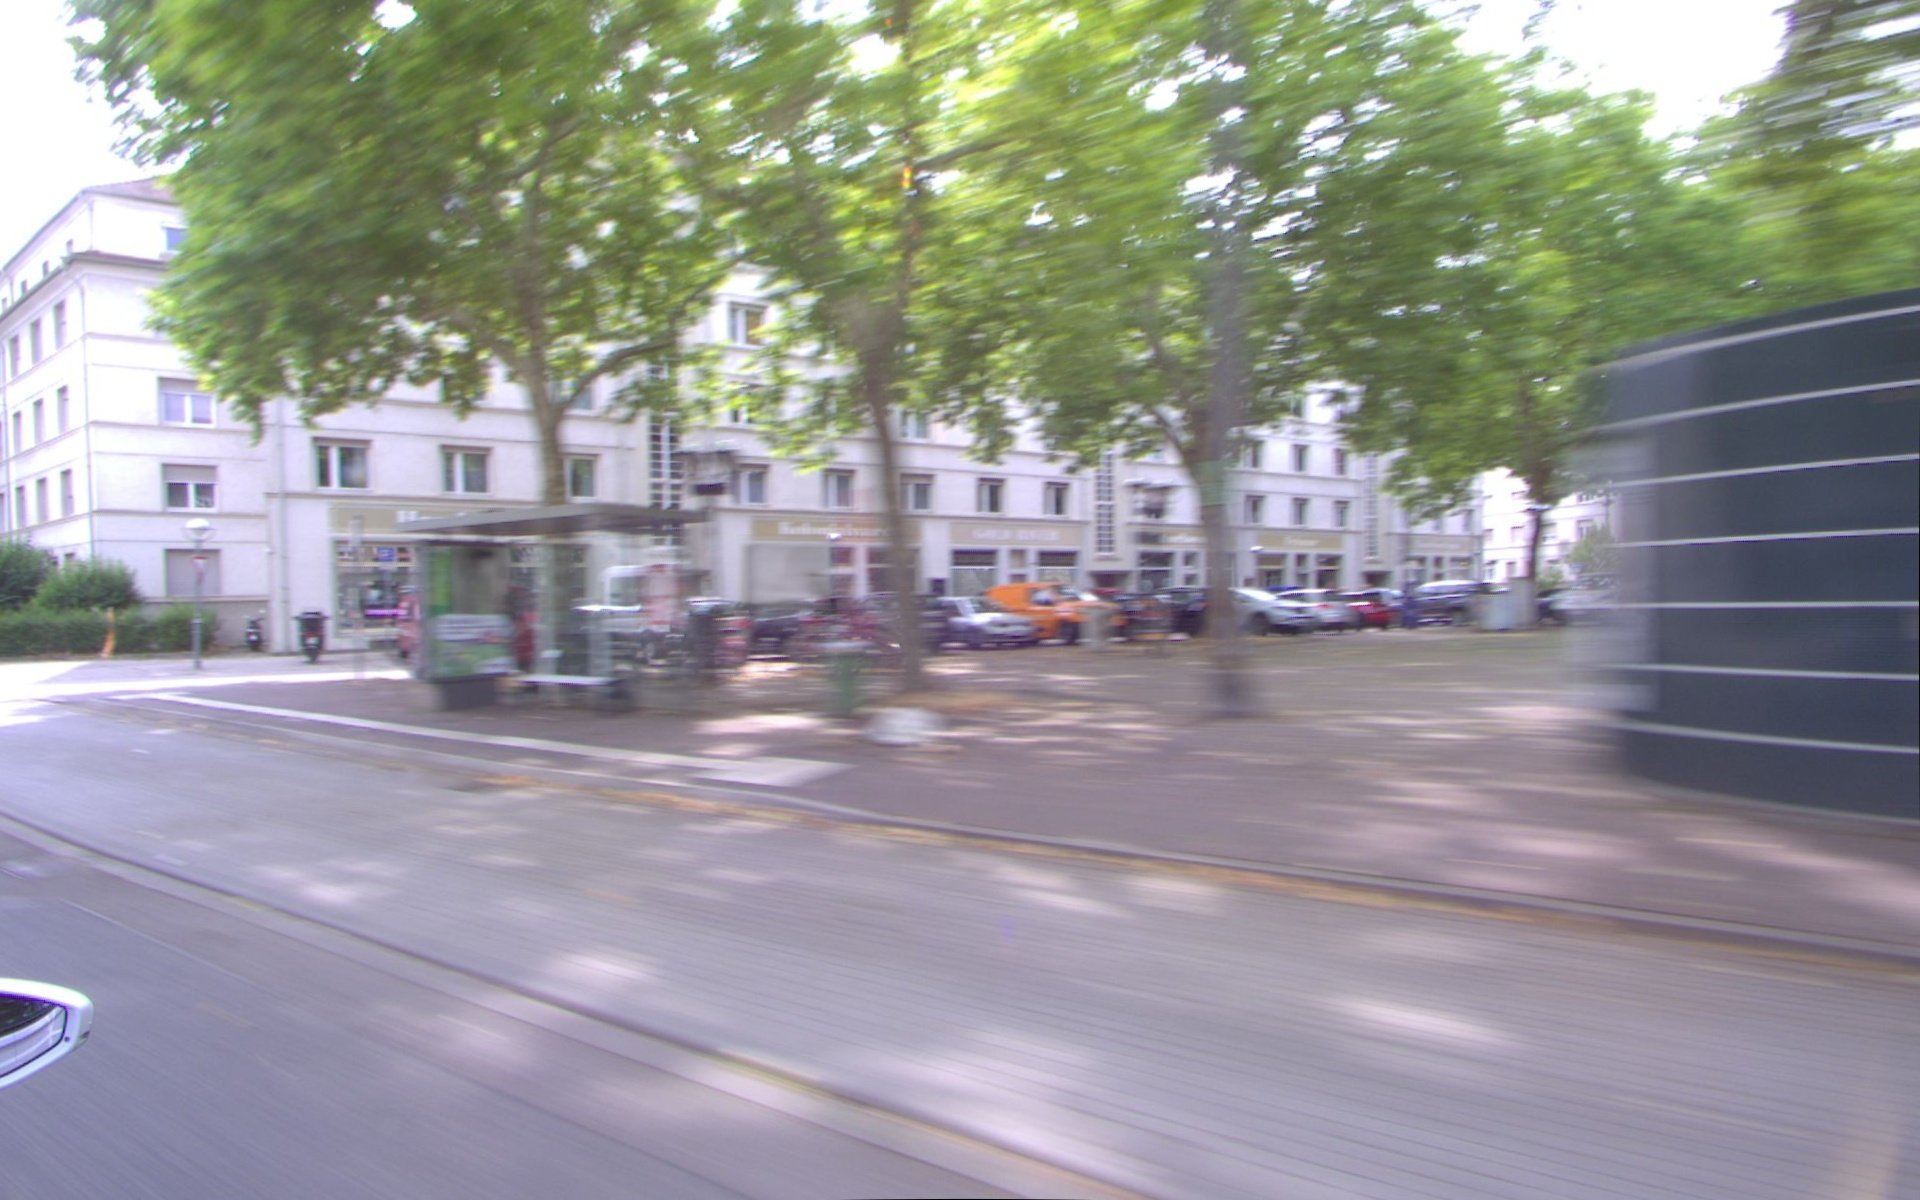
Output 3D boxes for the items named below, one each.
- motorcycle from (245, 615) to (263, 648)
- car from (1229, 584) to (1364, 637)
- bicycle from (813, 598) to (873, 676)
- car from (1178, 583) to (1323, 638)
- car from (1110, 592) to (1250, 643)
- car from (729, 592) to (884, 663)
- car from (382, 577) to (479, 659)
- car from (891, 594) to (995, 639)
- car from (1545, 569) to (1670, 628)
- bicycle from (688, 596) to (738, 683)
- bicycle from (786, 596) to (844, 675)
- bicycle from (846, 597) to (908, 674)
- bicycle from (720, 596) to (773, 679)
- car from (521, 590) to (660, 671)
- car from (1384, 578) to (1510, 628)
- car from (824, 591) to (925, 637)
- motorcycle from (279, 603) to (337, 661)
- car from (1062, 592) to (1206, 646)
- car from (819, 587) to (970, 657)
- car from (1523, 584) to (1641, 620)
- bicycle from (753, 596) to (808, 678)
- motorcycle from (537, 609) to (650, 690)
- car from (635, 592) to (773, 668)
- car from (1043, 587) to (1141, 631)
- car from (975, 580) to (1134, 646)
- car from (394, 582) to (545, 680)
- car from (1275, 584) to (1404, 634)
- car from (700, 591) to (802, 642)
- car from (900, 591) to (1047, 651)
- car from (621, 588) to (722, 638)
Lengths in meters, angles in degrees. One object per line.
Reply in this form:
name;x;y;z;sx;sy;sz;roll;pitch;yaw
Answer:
motorcycle;-22.994;1.019;32.596;0.428;1.030;1.438;-1;2;-36
car;11.337;0.326;33.946;1.974;1.662;3.972;-1;1;-35
bicycle;-2.246;0.667;19.001;0.413;1.396;2.302;-1;0;-25
car;9.324;0.319;32.379;1.975;1.639;4.174;-2;0;-37
car;6.815;0.533;31.376;1.975;1.483;3.971;-2;0;-37
car;-3.698;0.611;23.637;1.975;1.483;3.971;-2;0;-37
car;-15.482;0.487;29.148;1.974;2.178;4.812;-1;0;-34
car;-0.725;0.619;38.356;1.975;1.612;4.165;-1;0;-35
car;21.765;-0.071;33.612;4.274;1.840;1.987;-1;1;-33
bicycle;-4.419;0.655;17.807;0.413;1.397;2.301;-1;2;-25
bicycle;-2.758;0.621;18.843;0.413;1.396;2.302;-1;1;-25
bicycle;-1.632;0.649;19.358;0.413;1.396;2.302;-1;0;-25
bicycle;-3.893;0.638;18.165;0.413;1.396;2.302;-1;1;-25
car;-8.171;0.619;21.943;1.810;1.572;3.971;-2;0;-37
car;18.818;0.112;38.833;1.894;1.840;3.970;-1;0;-37
car;-3.275;0.526;37.709;1.975;1.612;4.165;-1;0;-35
motorcycle;-17.771;0.836;27.274;2.281;1.482;0.827;1;2;45
car;5.111;0.545;29.830;1.975;1.483;3.971;-2;0;-37
car;-1.734;0.525;25.406;1.975;1.620;3.971;-2;0;-37
car;27.676;0.065;44.685;1.967;1.503;4.086;-1;0;-23
bicycle;-3.337;0.632;18.472;0.413;1.397;2.302;-1;1;-25
motorcycle;-6.002;0.780;16.513;0.523;1.239;1.851;0;1;30
car;-5.787;0.620;22.280;1.727;1.483;4.159;-2;0;-33
car;5.591;0.375;42.845;1.974;1.751;3.973;-1;0;-35
car;2.588;0.347;28.510;1.975;1.717;4.526;-2;0;-37
car;-9.932;0.572;20.096;1.915;1.728;4.298;-1;0;-37
car;13.636;0.304;36.166;1.974;1.662;3.972;-1;1;-35
car;-7.156;0.544;33.997;1.974;1.612;4.167;-1;0;-34
car;0.294;0.536;27.081;1.975;1.483;3.971;-2;0;-37
car;-9.519;0.421;32.800;1.974;1.507;4.167;-1;0;-34
